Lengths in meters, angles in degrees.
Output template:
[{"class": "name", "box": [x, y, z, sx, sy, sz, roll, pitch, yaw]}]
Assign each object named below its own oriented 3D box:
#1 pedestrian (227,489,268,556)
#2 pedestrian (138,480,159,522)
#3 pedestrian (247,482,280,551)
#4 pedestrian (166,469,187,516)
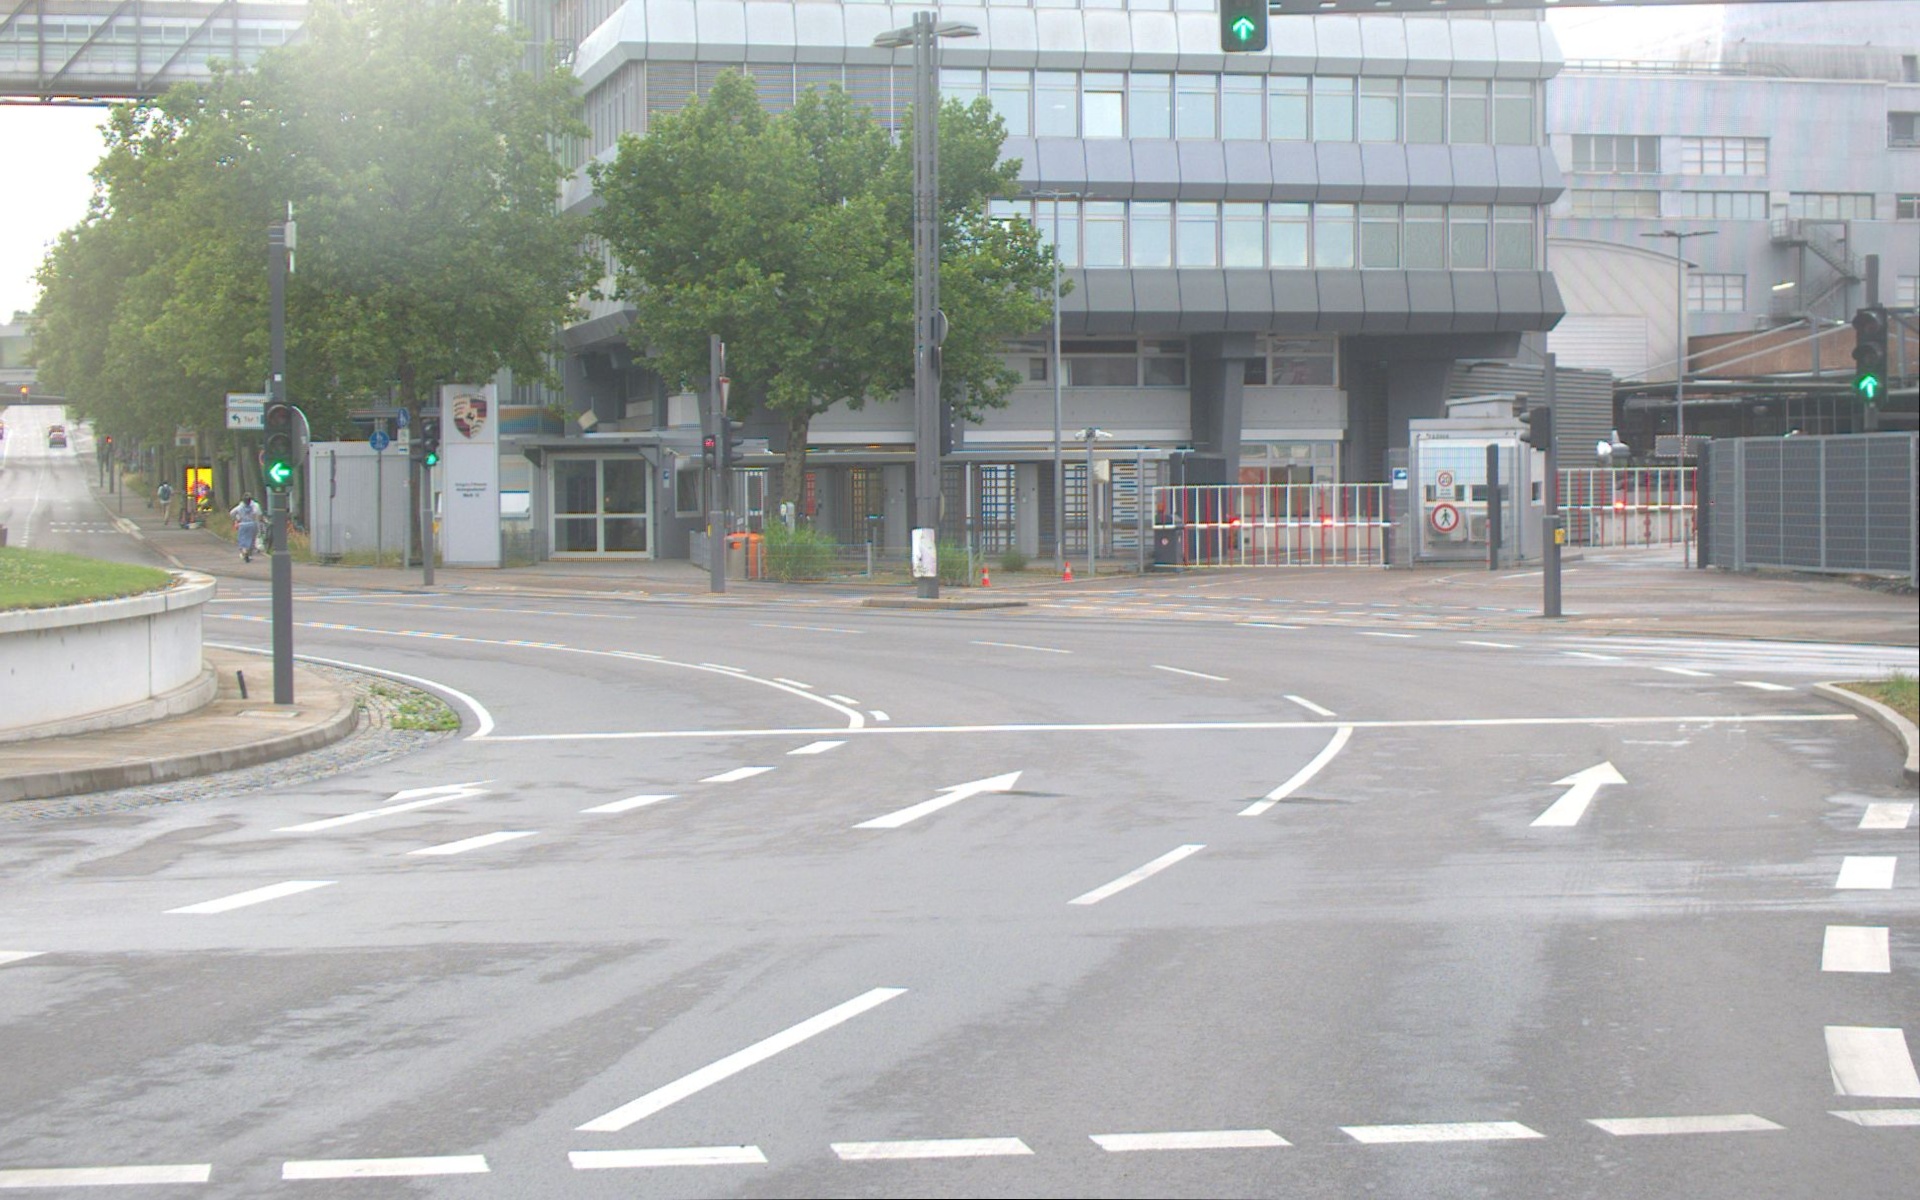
[{"class": "pedestrian", "box": [-16.331, -1.780, 78.836, 0.831, 1.515, 0.842, -1, 2, -7]}, {"class": "pedestrian", "box": [-38.616, -4.703, 163.577, 0.765, 2.007, 0.692, 0, 1, 2]}, {"class": "pedestrian", "box": [-16.320, -1.963, 80.586, 0.709, 1.586, 0.841, -1, 2, -10]}, {"class": "pedestrian", "box": [-29.094, -3.985, 127.582, 0.711, 1.734, 0.760, 1, 0, -15]}]
